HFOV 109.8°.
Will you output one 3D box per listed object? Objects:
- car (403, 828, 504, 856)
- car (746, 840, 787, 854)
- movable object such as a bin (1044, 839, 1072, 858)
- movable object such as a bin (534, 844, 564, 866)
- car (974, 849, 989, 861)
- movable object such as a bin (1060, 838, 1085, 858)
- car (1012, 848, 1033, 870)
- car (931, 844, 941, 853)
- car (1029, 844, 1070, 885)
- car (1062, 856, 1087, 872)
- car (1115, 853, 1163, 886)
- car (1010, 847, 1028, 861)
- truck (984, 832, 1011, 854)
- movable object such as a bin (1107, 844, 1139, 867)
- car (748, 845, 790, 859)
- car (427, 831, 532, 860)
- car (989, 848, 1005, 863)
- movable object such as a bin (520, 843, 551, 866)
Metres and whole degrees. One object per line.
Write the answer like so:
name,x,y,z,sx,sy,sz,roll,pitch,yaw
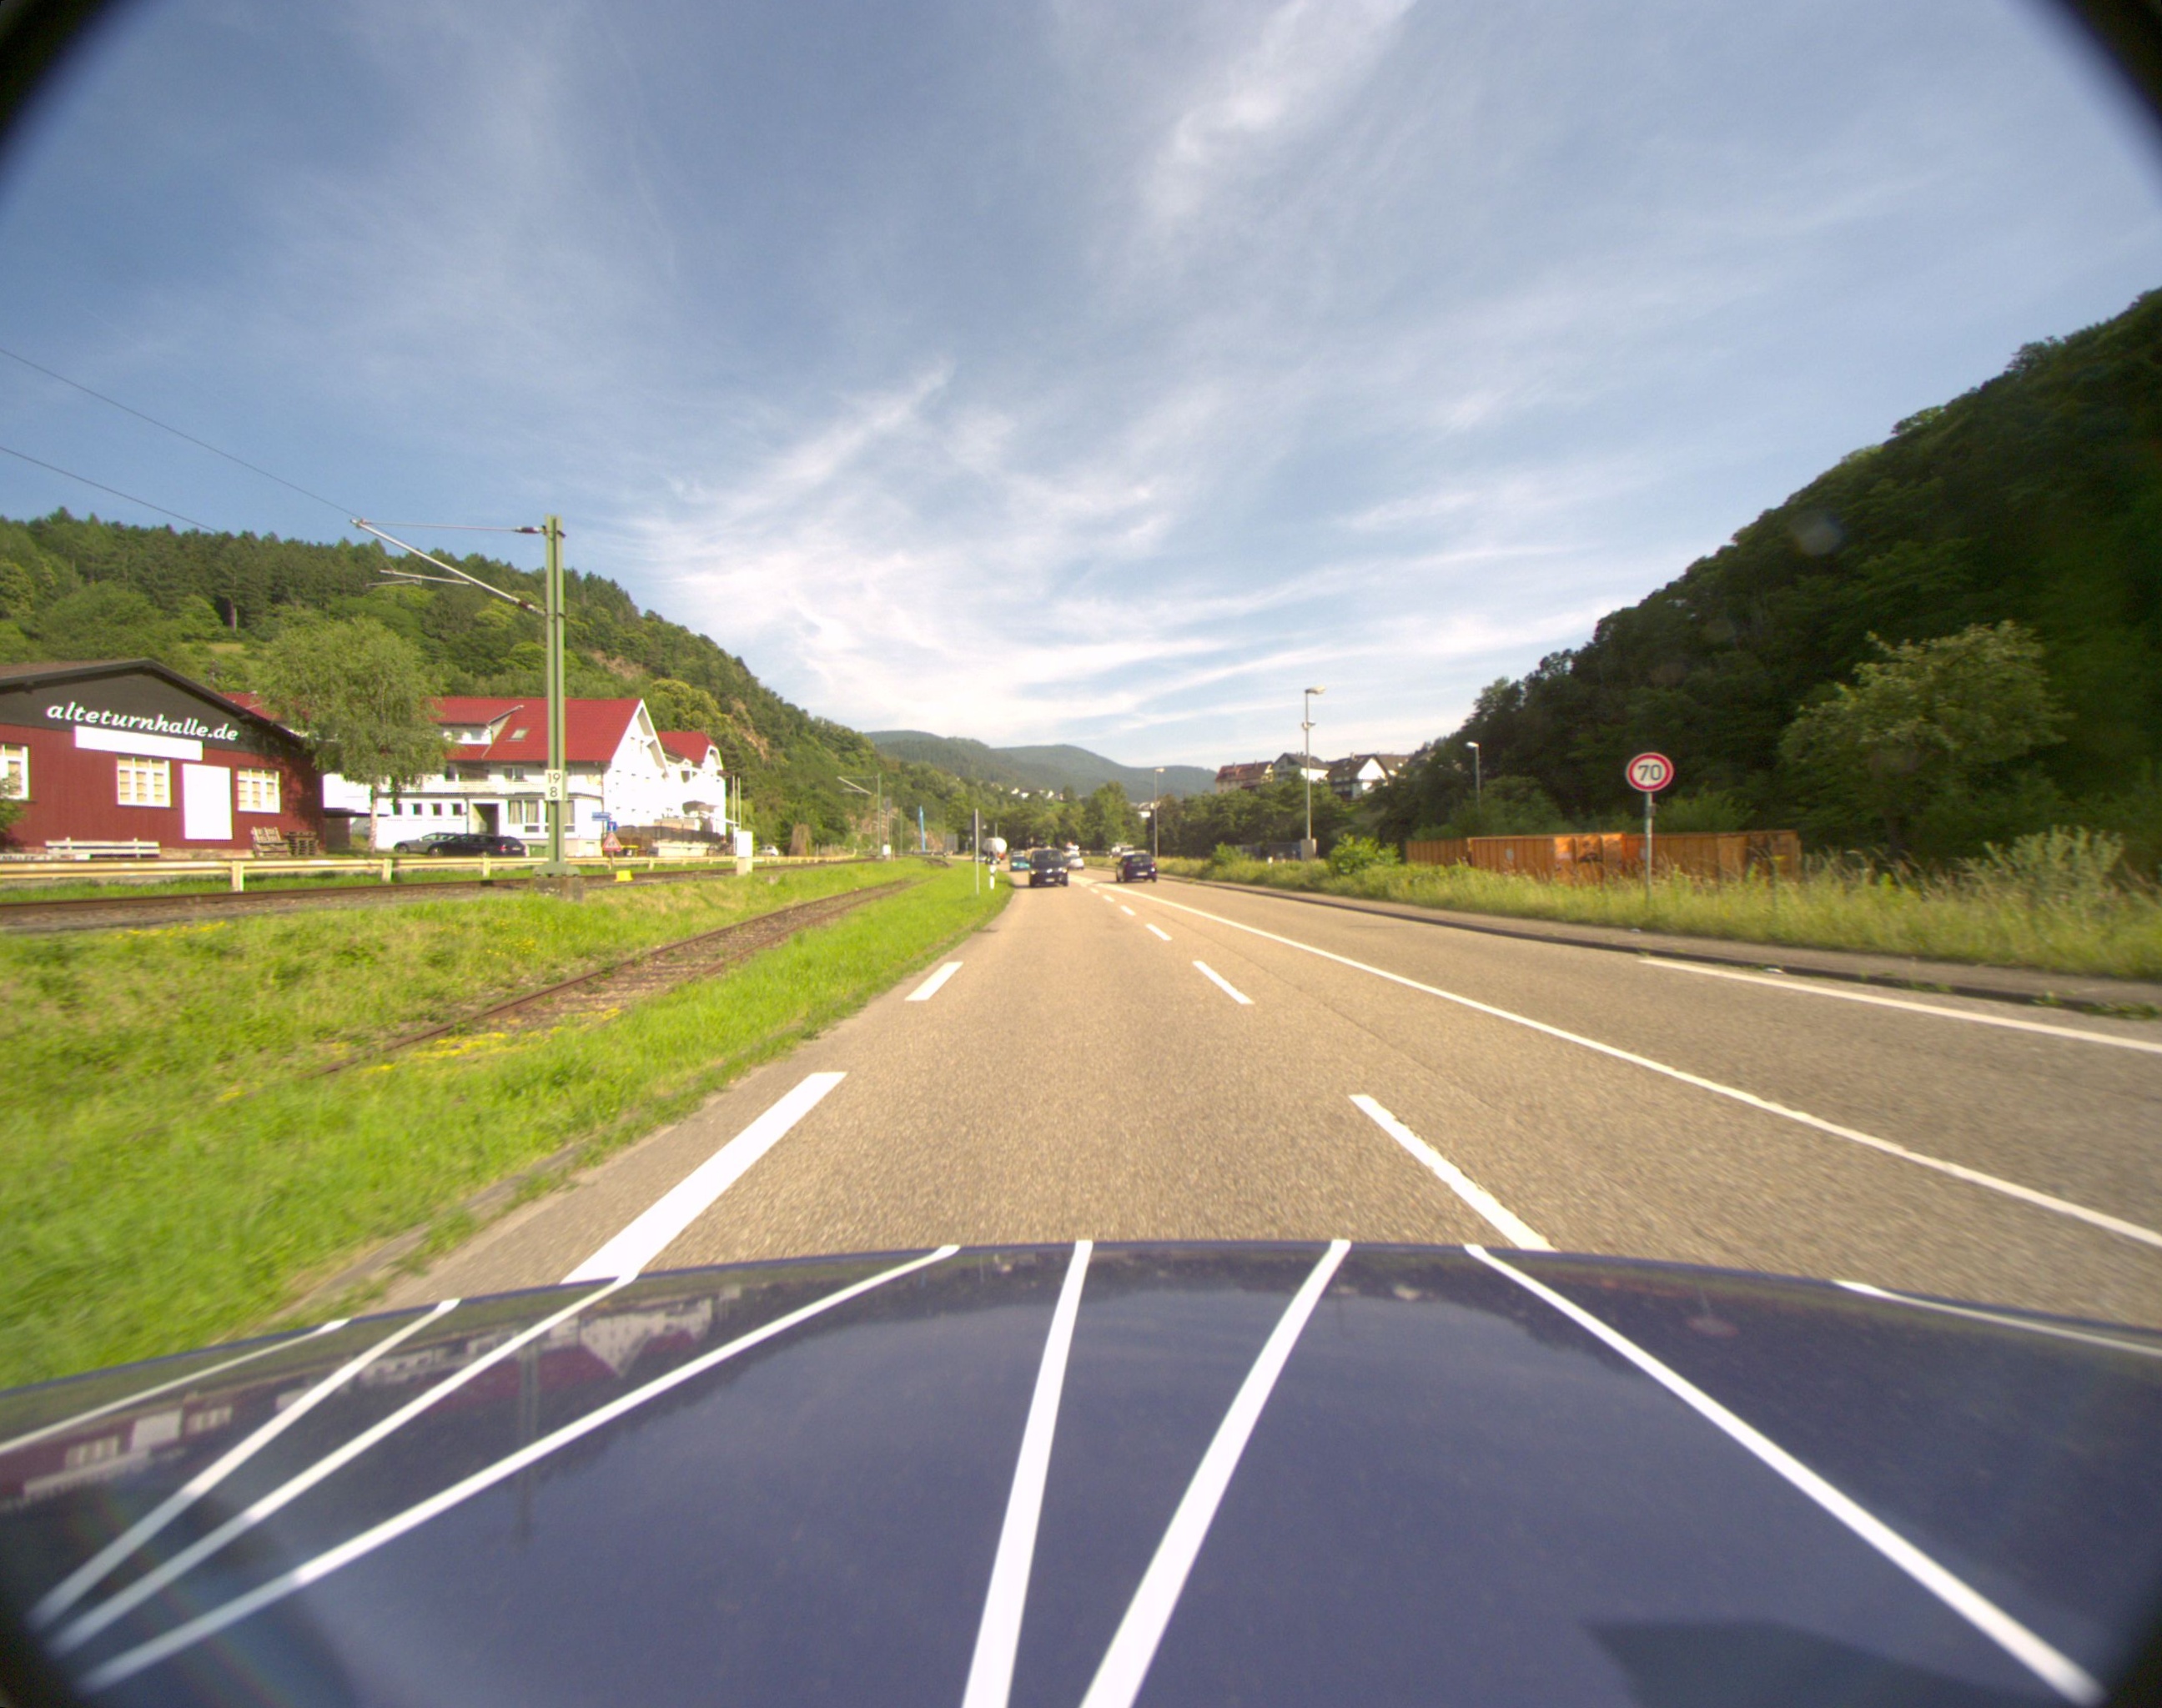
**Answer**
car,-35.155,-0.651,42.634,3.999,1.368,1.825,2,0,-4
car,-35.957,-0.760,86.920,4.002,1.521,1.998,1,-1,-13
movable object such as a bin,-4.965,-1.286,163.925,2.711,3.924,9.970,1,0,-22
movable object such as a bin,-25.862,0.045,36.955,0.810,1.044,0.911,-2,0,-4
car,-16.772,0.168,128.158,2.001,2.002,3.995,2,0,-13
movable object such as a bin,-1.841,-1.181,155.915,2.733,3.924,7.215,1,0,-21
car,-5.765,0.503,74.717,1.999,2.002,3.998,2,0,-5
car,-35.221,-1.274,185.030,2.002,2.002,3.994,2,0,-16
car,-1.549,0.583,39.083,1.999,2.001,4.001,0,-2,-1
car,-0.631,0.899,70.735,1.783,1.340,4.508,-3,0,-6
car,2.992,0.810,40.272,1.852,1.575,4.314,-2,0,-4
car,-9.194,-0.039,112.390,2.001,2.002,3.995,2,0,-14
truck,-15.412,-1.908,139.561,2.760,3.813,14.542,-2,0,-14
movable object such as a bin,7.661,0.235,140.539,2.911,3.924,7.794,1,0,-21
car,-36.705,-0.236,89.503,4.328,1.521,1.998,1,-1,-13
car,-31.556,-0.426,39.969,3.998,1.368,1.825,2,0,-2
car,-12.128,0.240,109.299,2.000,2.002,3.996,2,0,-10
movable object such as a bin,-25.799,0.020,35.933,0.810,1.044,0.911,-2,0,-4
